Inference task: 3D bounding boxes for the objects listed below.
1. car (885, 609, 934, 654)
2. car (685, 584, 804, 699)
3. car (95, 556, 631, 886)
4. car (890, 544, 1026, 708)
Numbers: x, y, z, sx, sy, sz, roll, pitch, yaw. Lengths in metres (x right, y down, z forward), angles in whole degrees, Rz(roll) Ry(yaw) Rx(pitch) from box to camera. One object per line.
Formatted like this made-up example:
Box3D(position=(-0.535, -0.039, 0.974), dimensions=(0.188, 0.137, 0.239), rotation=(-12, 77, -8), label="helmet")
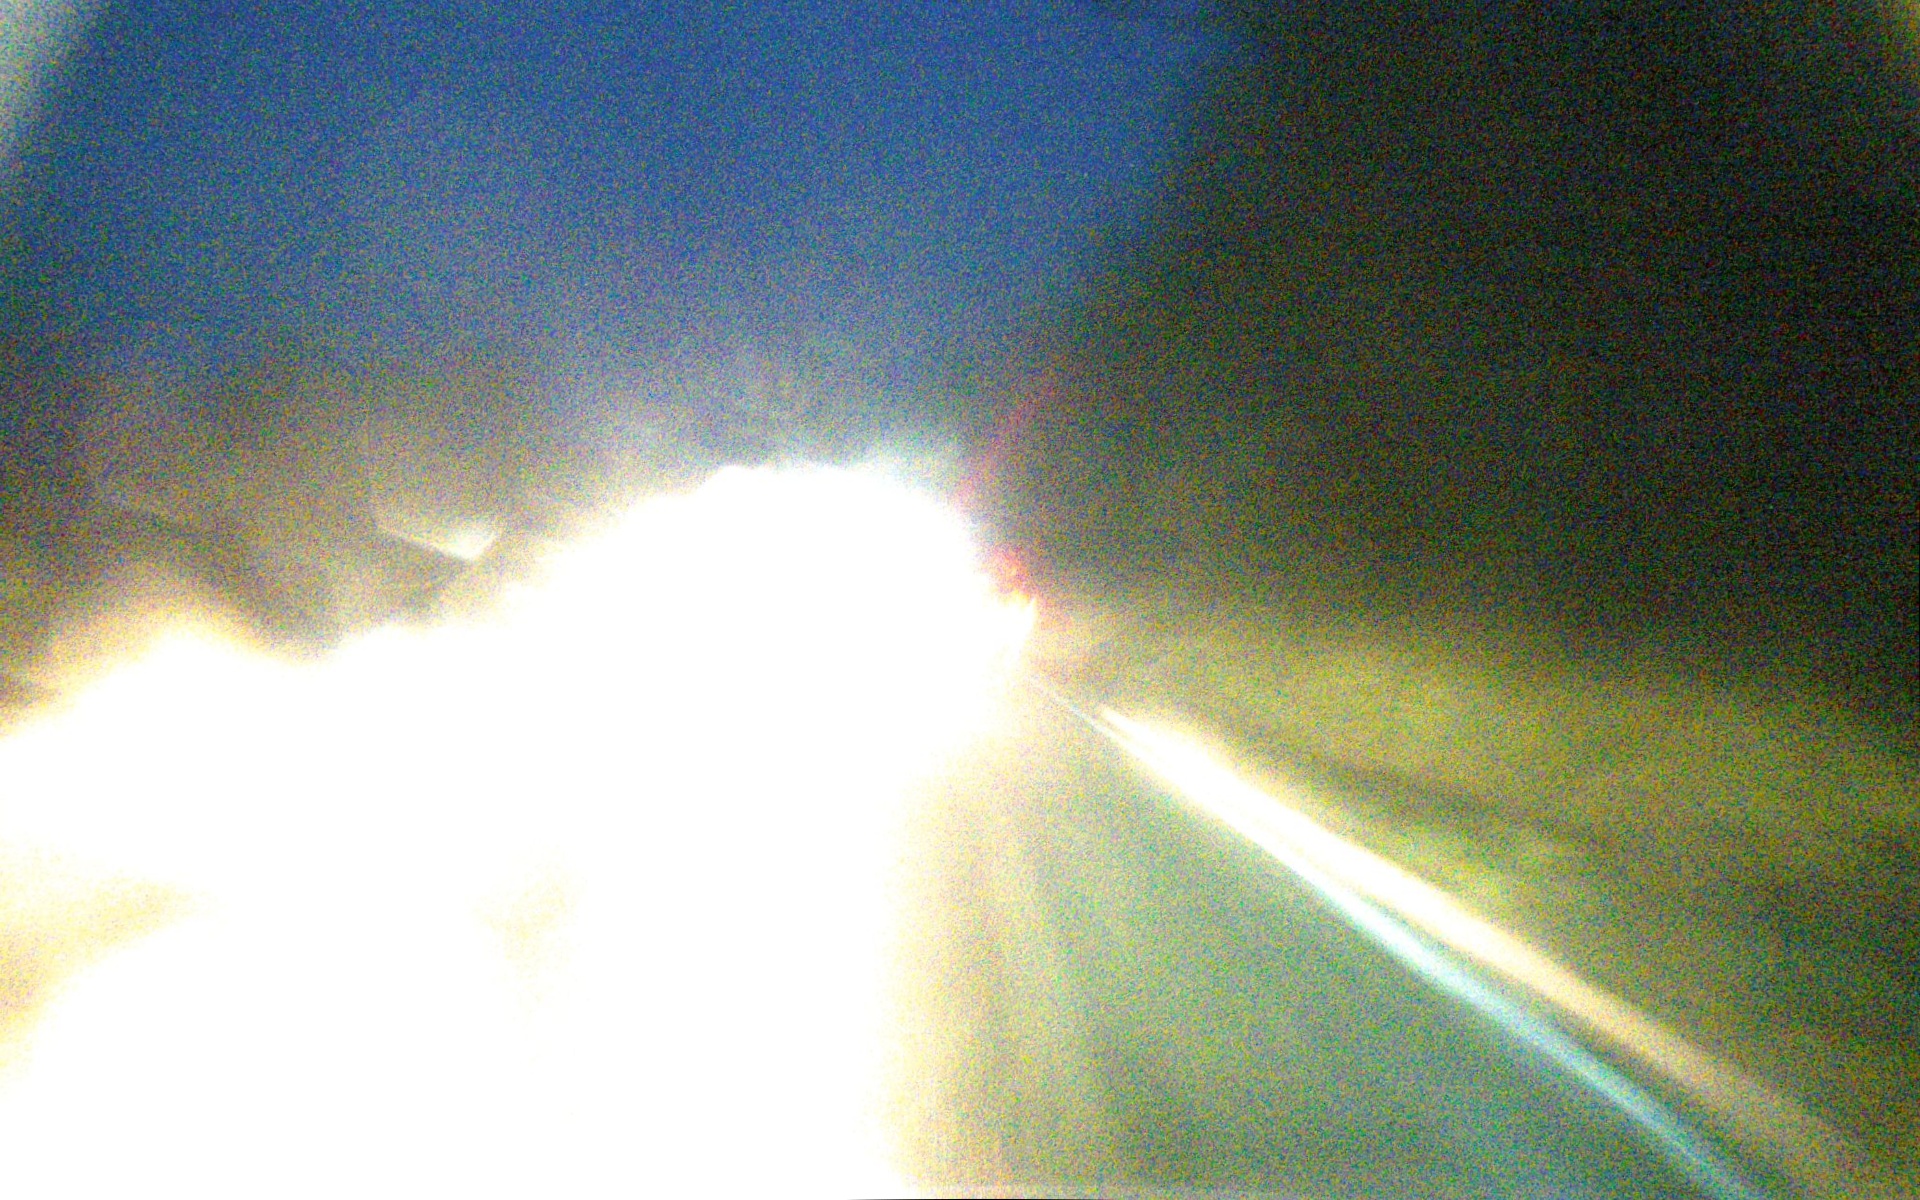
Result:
Box3D(position=(-1.785, 1.119, 59.189), dimensions=(1.672, 1.531, 3.605), rotation=(1, -1, -1), label="car")
Box3D(position=(-3.904, 0.699, 30.542), dimensions=(1.799, 1.876, 3.999), rotation=(0, 2, -2), label="car")
Box3D(position=(-3.177, 0.596, 9.656), dimensions=(1.806, 1.531, 3.709), rotation=(1, -1, -1), label="car")
Box3D(position=(-0.047, 0.372, 29.828), dimensions=(2.137, 2.601, 4.508), rotation=(3, 2, -1), label="car")
